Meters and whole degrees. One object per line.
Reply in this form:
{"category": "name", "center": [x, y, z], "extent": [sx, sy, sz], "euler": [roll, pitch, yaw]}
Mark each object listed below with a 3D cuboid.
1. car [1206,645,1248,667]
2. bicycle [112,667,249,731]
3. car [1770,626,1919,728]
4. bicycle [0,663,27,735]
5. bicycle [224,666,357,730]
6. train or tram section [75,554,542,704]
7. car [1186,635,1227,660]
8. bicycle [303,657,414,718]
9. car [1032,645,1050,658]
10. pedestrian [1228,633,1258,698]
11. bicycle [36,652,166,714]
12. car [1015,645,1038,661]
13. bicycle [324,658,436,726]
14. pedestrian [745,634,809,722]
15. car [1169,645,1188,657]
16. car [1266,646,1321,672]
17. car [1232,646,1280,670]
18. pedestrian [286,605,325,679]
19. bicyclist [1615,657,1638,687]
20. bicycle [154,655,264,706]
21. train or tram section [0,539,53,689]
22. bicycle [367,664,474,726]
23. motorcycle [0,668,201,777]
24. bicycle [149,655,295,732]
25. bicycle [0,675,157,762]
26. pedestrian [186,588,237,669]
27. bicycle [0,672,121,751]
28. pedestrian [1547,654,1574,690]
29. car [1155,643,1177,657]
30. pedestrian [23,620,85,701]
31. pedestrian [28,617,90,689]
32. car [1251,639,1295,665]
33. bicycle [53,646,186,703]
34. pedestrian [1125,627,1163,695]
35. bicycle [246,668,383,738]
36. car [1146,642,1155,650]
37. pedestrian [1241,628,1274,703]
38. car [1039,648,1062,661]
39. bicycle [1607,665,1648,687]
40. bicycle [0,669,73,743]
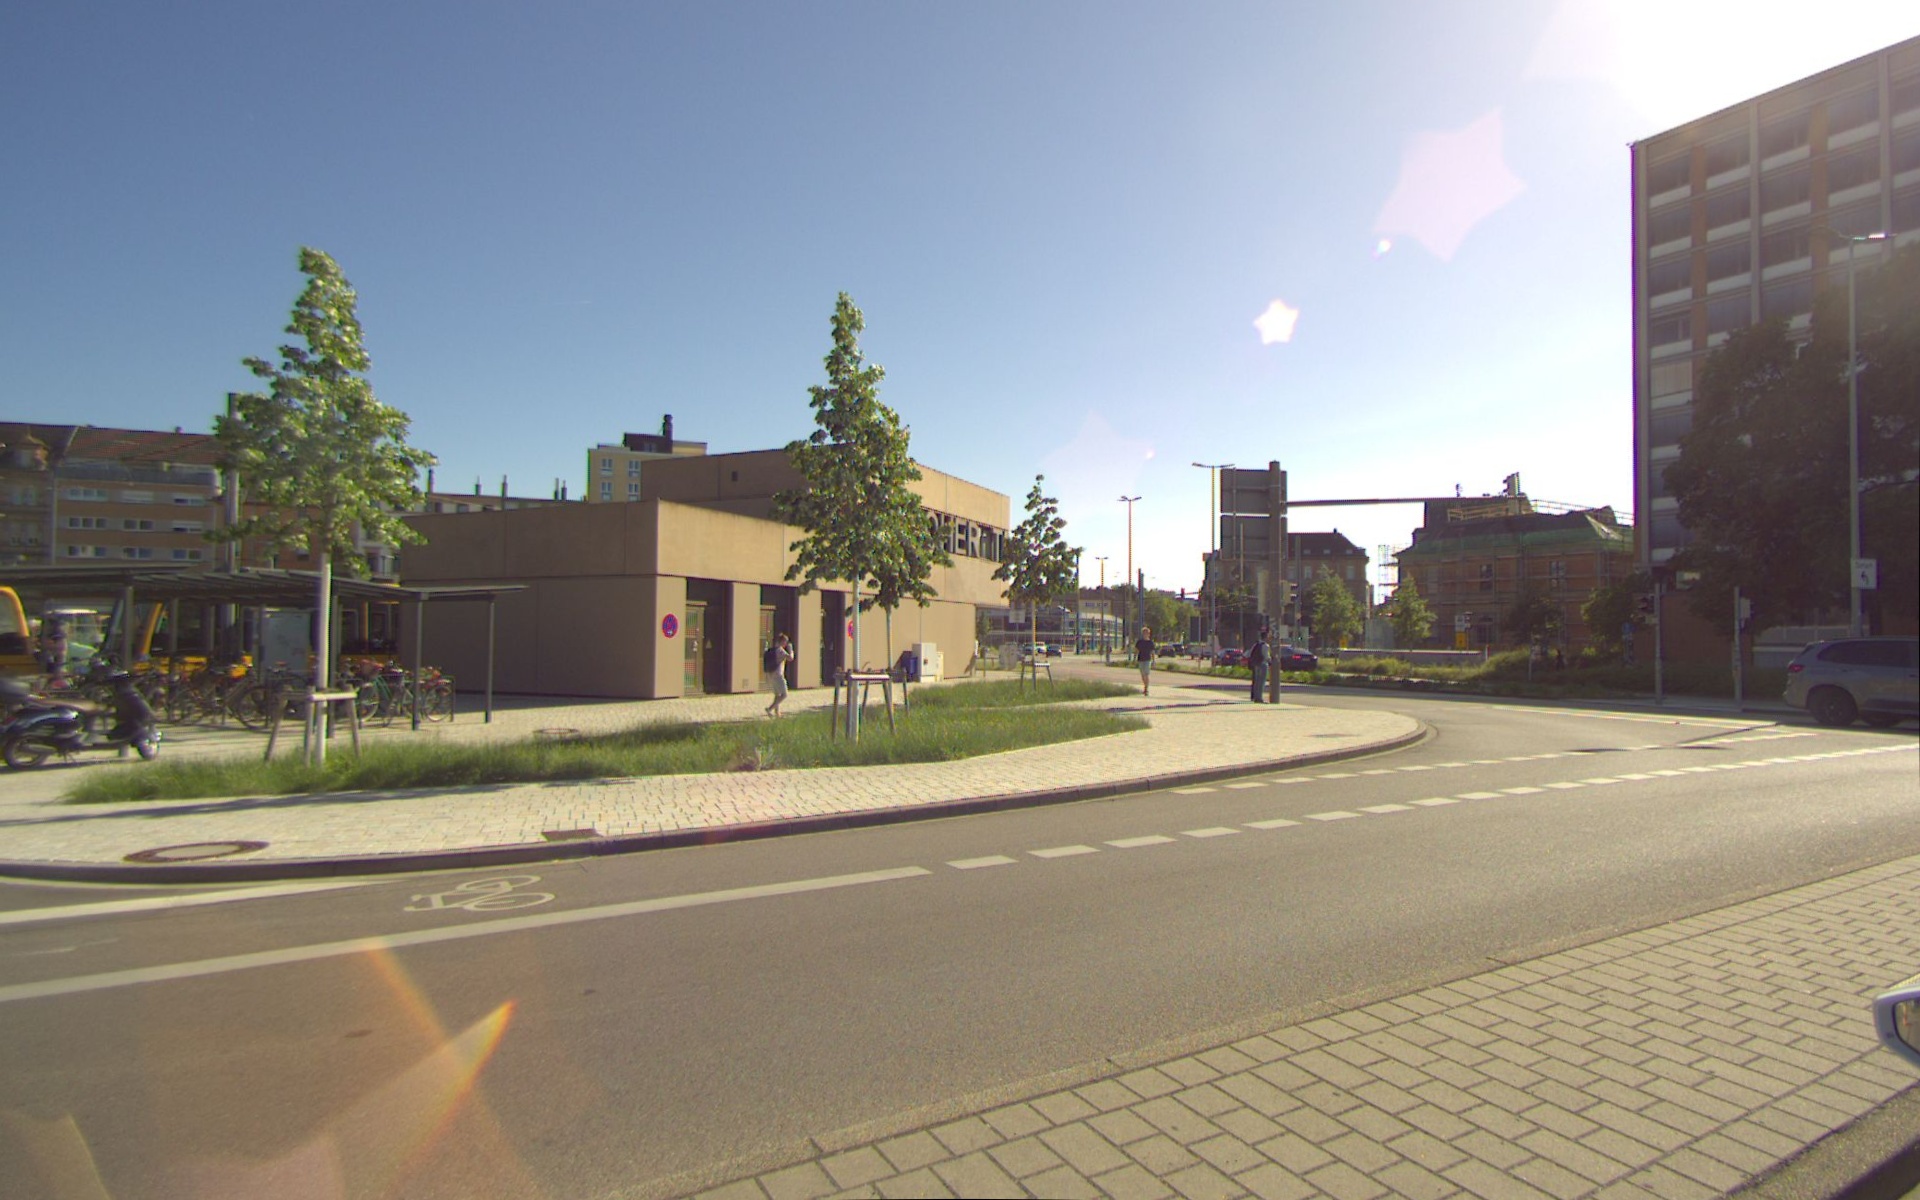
{"category": "car", "center": [20.044, 4.208, 75.509], "extent": [1.962, 1.538, 3.818], "euler": [1, -2, -4]}
{"category": "bicycle", "center": [-13.873, 1.740, 17.941], "extent": [0.617, 1.021, 1.828], "euler": [0, -2, 27]}
{"category": "car", "center": [18.654, 1.449, 19.095], "extent": [1.975, 1.885, 4.720], "euler": [1, -2, -21]}
{"category": "bicycle", "center": [-15.280, 1.514, 15.015], "extent": [0.617, 1.094, 1.829], "euler": [0, -2, 25]}
{"category": "bicycle", "center": [-11.623, 1.678, 17.504], "extent": [0.492, 1.010, 1.887], "euler": [0, -2, 31]}
{"category": "train or tram section", "center": [-18.739, 0.933, 30.686], "extent": [2.702, 3.648, 12.318], "euler": [0, -2, 25]}
{"category": "car", "center": [26.917, 5.172, 109.871], "extent": [2.953, 2.580, 6.961], "euler": [0, -2, 2]}
{"category": "bicycle", "center": [-11.754, 1.686, 19.692], "extent": [0.617, 1.107, 1.829], "euler": [0, -2, 25]}
{"category": "car", "center": [10.809, 6.881, 133.910], "extent": [1.865, 1.728, 4.003], "euler": [0, -2, 11]}
{"category": "pedestrian", "center": [7.580, 1.739, 26.913], "extent": [0.594, 1.719, 0.634], "euler": [1, -2, -7]}
{"category": "bicycle", "center": [-16.919, 1.609, 19.832], "extent": [0.617, 1.146, 1.828], "euler": [0, -2, 27]}
{"category": "car", "center": [8.197, 6.526, 123.991], "extent": [1.963, 1.814, 3.995], "euler": [1, -2, -8]}
{"category": "bicycle", "center": [-10.750, 1.674, 18.687], "extent": [0.616, 1.161, 1.831], "euler": [0, -2, 18]}
{"category": "pedestrian", "center": [-3.735, 1.571, 20.498], "extent": [1.015, 1.727, 0.830], "euler": [2, -2, -38]}
{"category": "car", "center": [28.212, 6.536, 129.986], "extent": [2.024, 1.458, 4.061], "euler": [0, -2, 7]}
{"category": "car", "center": [20.799, 3.656, 62.738], "extent": [1.962, 1.538, 3.818], "euler": [1, -2, -4]}
{"category": "car", "center": [20.273, 3.938, 69.003], "extent": [1.962, 1.538, 3.818], "euler": [1, -2, -4]}
{"category": "pedestrian", "center": [-16.947, 1.095, 26.017], "extent": [0.671, 1.880, 0.602], "euler": [1, -2, -19]}
{"category": "bicyclist", "center": [32.520, 3.494, 49.017], "extent": [0.636, 1.431, 0.638], "euler": [1, -2, -3]}
{"category": "bicycle", "center": [-16.266, 1.732, 21.807], "extent": [0.617, 1.021, 1.829], "euler": [0, -2, 25]}
{"category": "train or tram section", "center": [-26.785, 0.163, 20.358], "extent": [2.779, 3.648, 12.320], "euler": [0, -2, 24]}
{"category": "bicycle", "center": [-9.830, 1.708, 18.388], "extent": [0.616, 1.021, 1.832], "euler": [0, -2, 16]}
{"category": "motorcycle", "center": [-10.927, 1.477, 12.479], "extent": [0.599, 1.173, 2.360], "euler": [0, -2, 25]}
{"category": "bicycle", "center": [-12.896, 1.598, 17.632], "extent": [0.496, 1.225, 2.051], "euler": [0, -2, 26]}
{"category": "bicycle", "center": [-12.045, 1.557, 13.524], "extent": [0.617, 1.021, 1.829], "euler": [0, -2, 25]}
{"category": "pedestrian", "center": [-17.712, 0.672, 23.783], "extent": [0.738, 1.880, 0.709], "euler": [1, -2, -19]}
{"category": "bicycle", "center": [-13.128, 1.556, 14.076], "extent": [0.617, 1.021, 2.026], "euler": [0, -2, 25]}
{"category": "pedestrian", "center": [34.204, 4.106, 57.232], "extent": [0.996, 2.040, 0.825], "euler": [1, -2, -6]}
{"category": "car", "center": [24.440, 5.906, 119.261], "extent": [2.059, 1.602, 4.862], "euler": [0, -2, 6]}
{"category": "pedestrian", "center": [-19.402, 1.282, 21.525], "extent": [0.593, 1.681, 0.772], "euler": [0, -2, 23]}
{"category": "pedestrian", "center": [-26.271, 1.538, 29.290], "extent": [0.854, 2.040, 1.012], "euler": [0, -2, 19]}
{"category": "car", "center": [25.798, 4.241, 82.911], "extent": [2.031, 2.040, 5.016], "euler": [1, -2, -1]}
{"category": "bicycle", "center": [-16.000, 1.390, 19.170], "extent": [0.617, 1.021, 1.828], "euler": [0, -2, 27]}
{"category": "pedestrian", "center": [5.206, 1.715, 28.458], "extent": [0.826, 1.869, 0.866], "euler": [1, -2, -7]}
{"category": "bicycle", "center": [-10.680, 1.677, 16.687], "extent": [0.617, 1.021, 1.828], "euler": [0, -2, 27]}
{"category": "car", "center": [41.529, 9.976, 218.742], "extent": [1.959, 1.695, 4.003], "euler": [0, -2, 11]}
{"category": "pedestrian", "center": [7.595, 1.671, 25.653], "extent": [0.594, 1.880, 0.681], "euler": [1, -2, -7]}
{"category": "car", "center": [10.243, 6.178, 114.281], "extent": [1.962, 1.407, 3.999], "euler": [0, -3, -5]}
{"category": "bicycle", "center": [32.542, 3.707, 48.988], "extent": [0.612, 0.971, 1.870], "euler": [1, -2, -5]}
{"category": "bicycle", "center": [-14.112, 1.548, 14.516], "extent": [0.617, 1.021, 1.829], "euler": [0, -2, 25]}
